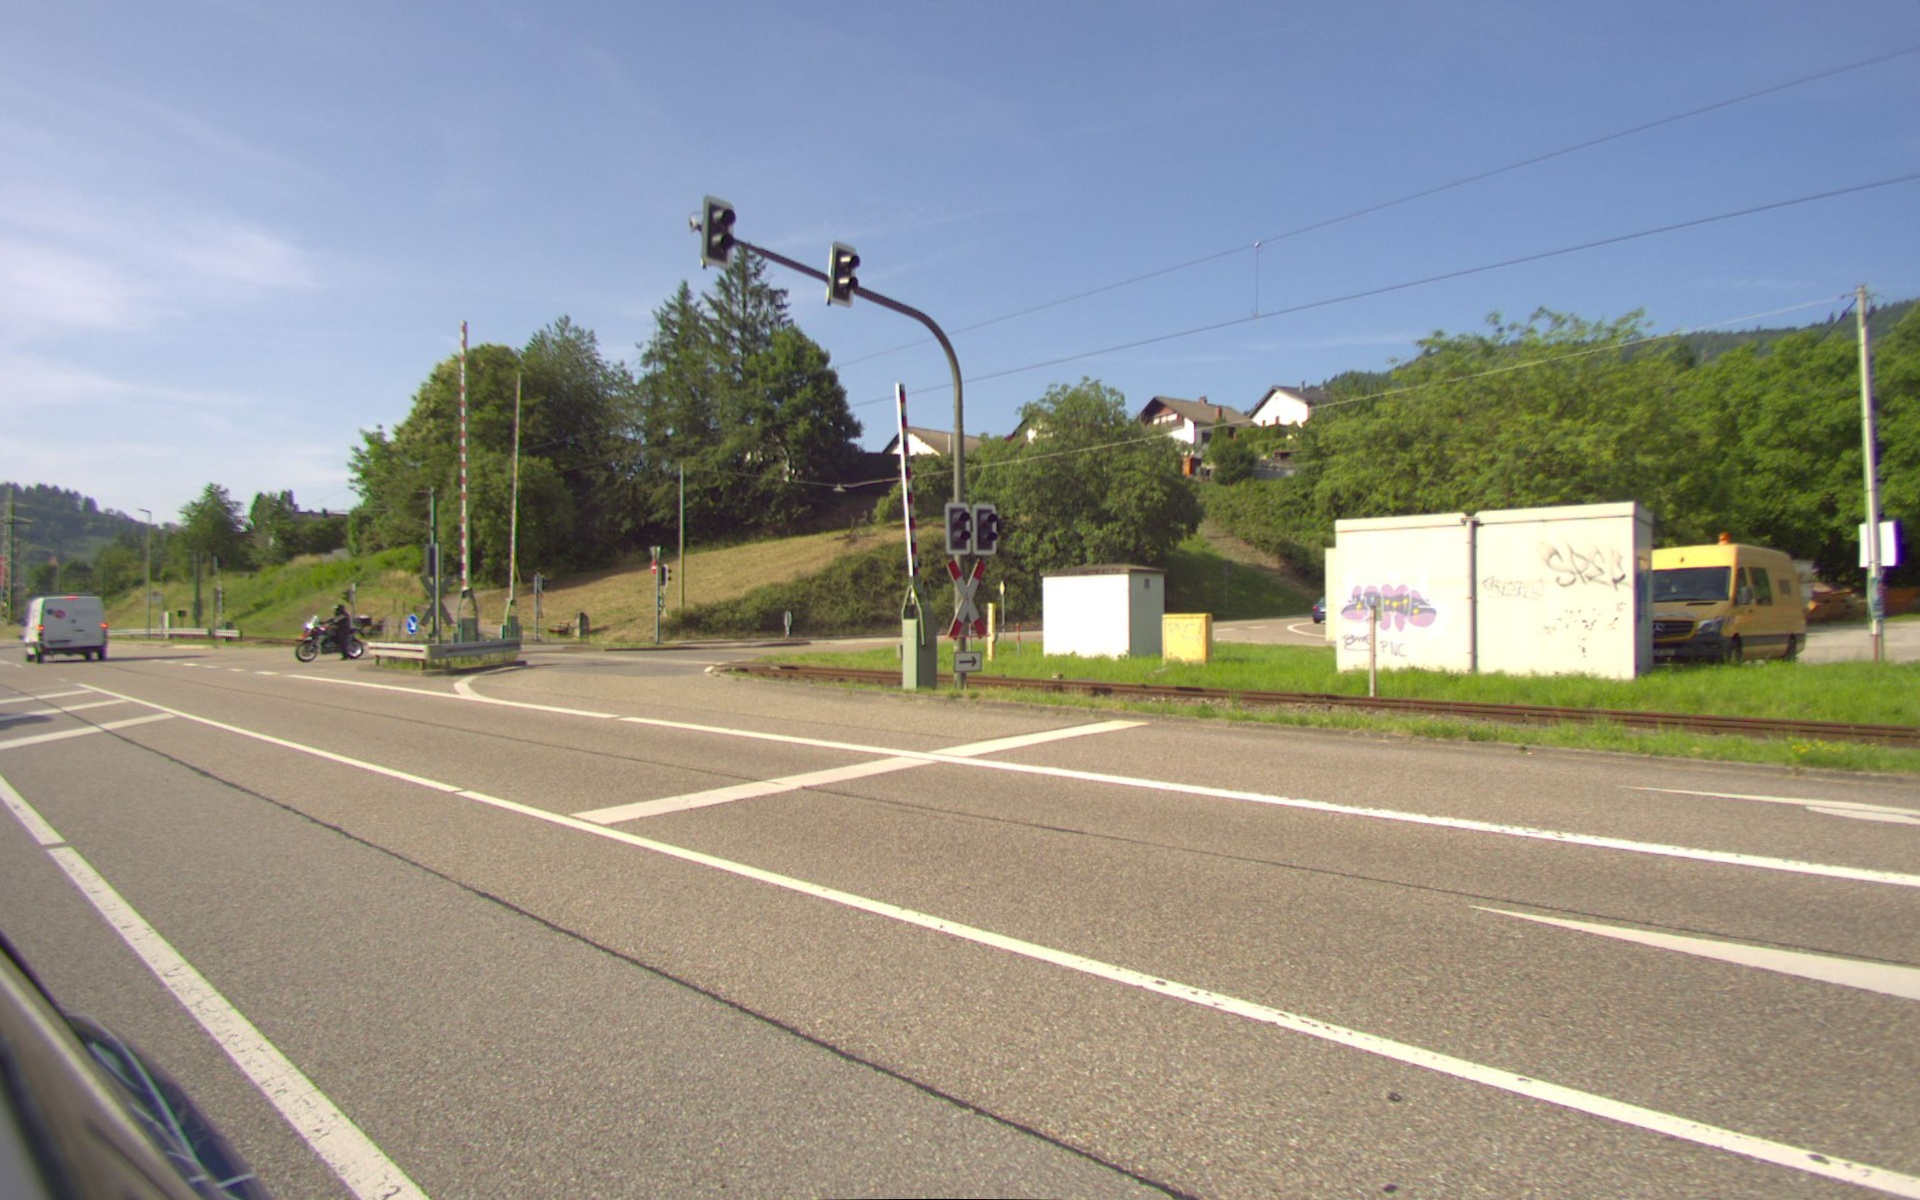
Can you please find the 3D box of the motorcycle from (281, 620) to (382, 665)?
[{"bbox_3d":[-20.093,1.343,32.425,1.000,1.278,2.570,-2,0,27],"label":"motorcycle"}]

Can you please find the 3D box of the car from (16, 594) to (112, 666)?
[{"bbox_3d":[-33.040,1.083,37.272,5.227,2.455,2.097,-2,-1,43],"label":"car"}]

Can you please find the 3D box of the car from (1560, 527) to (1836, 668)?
[{"bbox_3d":[15.545,-0.044,21.129,6.974,2.475,2.954,-1,-1,-39],"label":"car"}]

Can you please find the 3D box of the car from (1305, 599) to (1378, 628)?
[{"bbox_3d":[20.777,0.723,55.111,3.935,1.541,1.954,0,-1,-38],"label":"car"}]

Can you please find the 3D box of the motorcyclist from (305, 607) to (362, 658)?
[{"bbox_3d":[-20.080,1.034,32.450,0.987,1.556,1.175,-2,1,27],"label":"motorcyclist"}]
